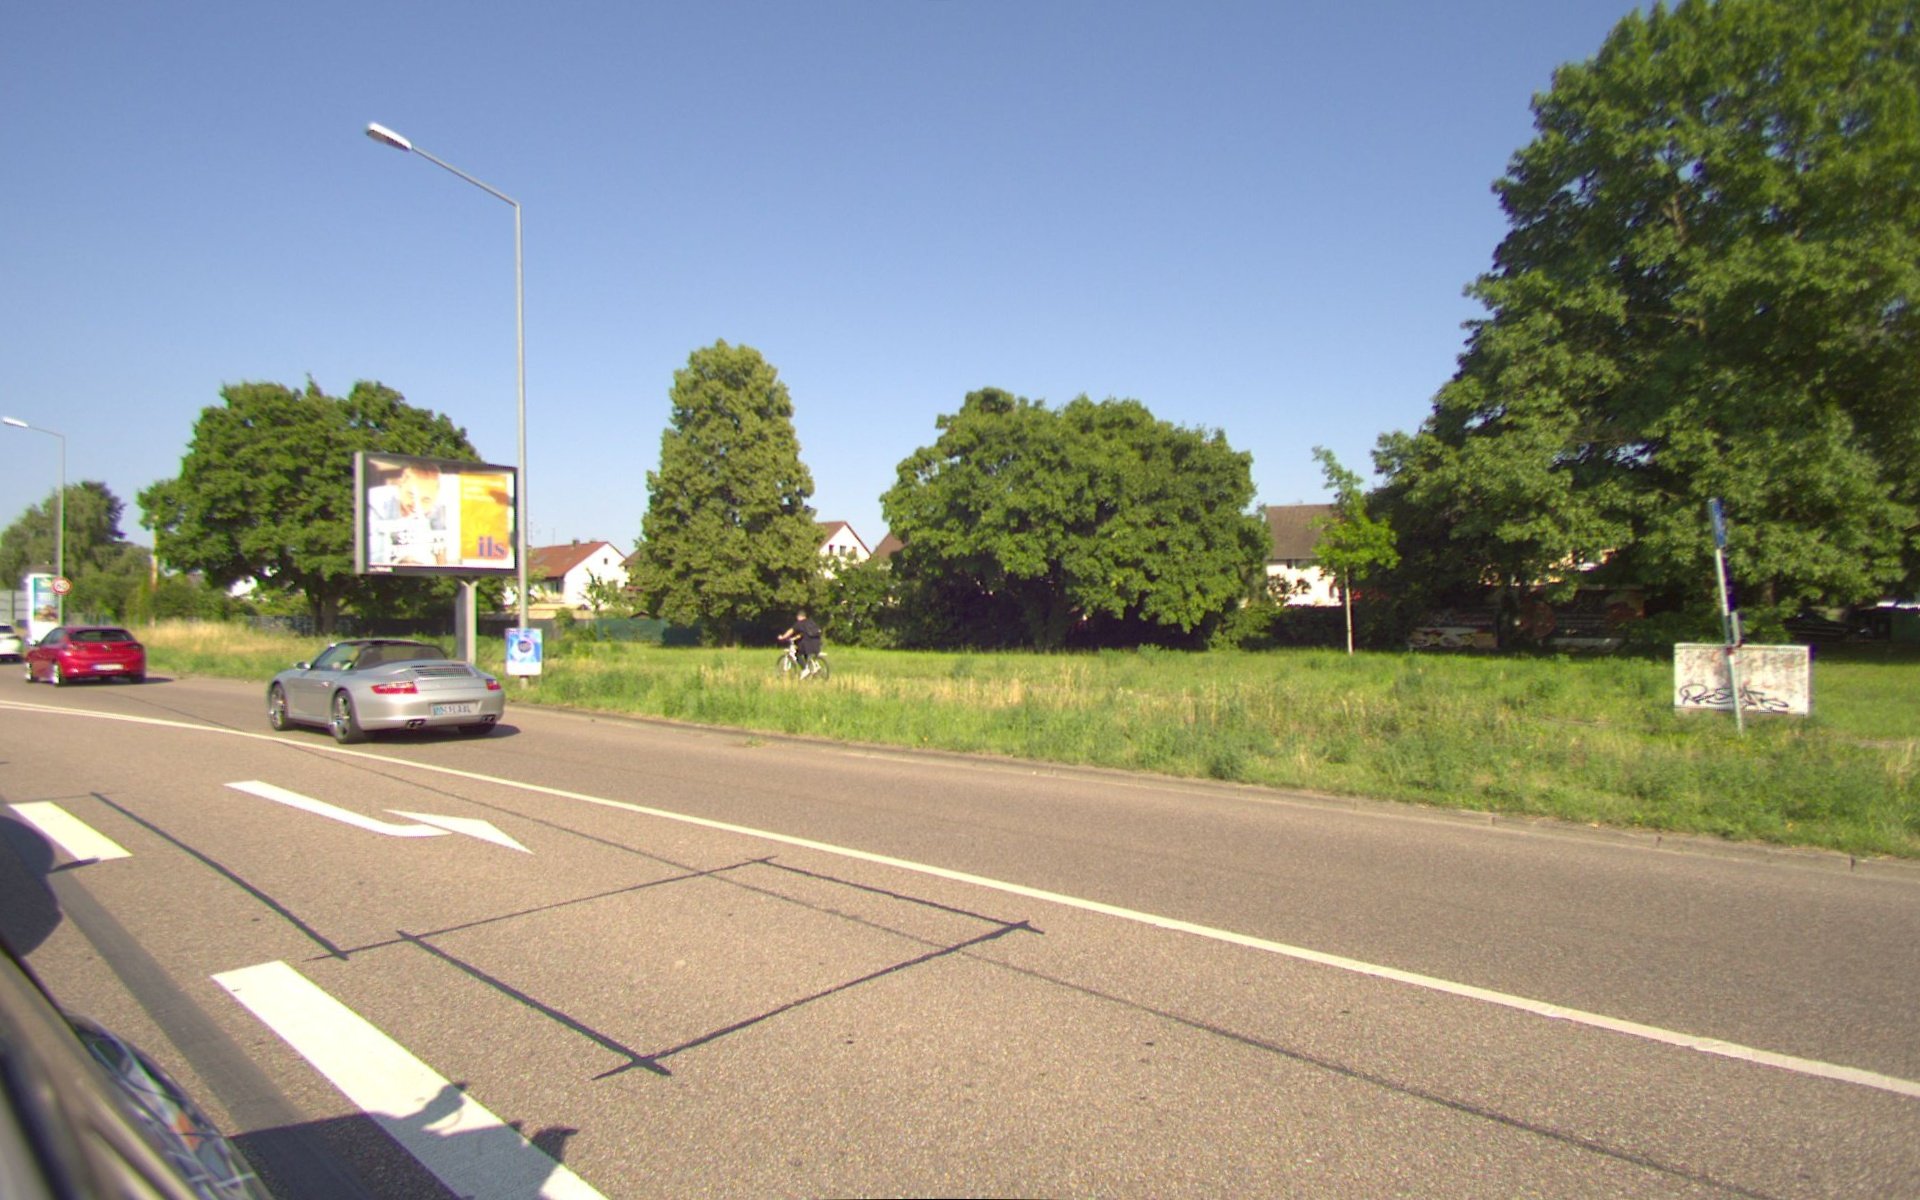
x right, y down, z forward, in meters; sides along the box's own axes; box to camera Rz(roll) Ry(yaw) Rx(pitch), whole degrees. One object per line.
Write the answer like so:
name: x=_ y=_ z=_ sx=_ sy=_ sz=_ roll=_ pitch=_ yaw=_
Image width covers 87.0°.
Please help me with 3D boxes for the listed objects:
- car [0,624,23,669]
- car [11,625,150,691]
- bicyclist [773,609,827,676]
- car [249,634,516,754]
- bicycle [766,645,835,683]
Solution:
car: x=-33.881 y=1.573 z=34.716 sx=4.264 sy=1.489 sz=1.763 roll=-1 pitch=-2 yaw=36
car: x=-21.701 y=1.376 z=24.930 sx=3.907 sy=1.489 sz=1.763 roll=-1 pitch=-2 yaw=36
bicyclist: x=-3.525 y=0.925 z=22.236 sx=1.071 sy=1.439 sz=0.630 roll=-2 pitch=-2 yaw=42
car: x=-7.857 y=1.146 z=13.608 sx=4.283 sy=1.320 sz=1.761 roll=-1 pitch=-1 yaw=40
bicycle: x=-3.527 y=1.390 z=22.219 sx=1.834 sy=0.759 sz=0.449 roll=-1 pitch=-1 yaw=42
